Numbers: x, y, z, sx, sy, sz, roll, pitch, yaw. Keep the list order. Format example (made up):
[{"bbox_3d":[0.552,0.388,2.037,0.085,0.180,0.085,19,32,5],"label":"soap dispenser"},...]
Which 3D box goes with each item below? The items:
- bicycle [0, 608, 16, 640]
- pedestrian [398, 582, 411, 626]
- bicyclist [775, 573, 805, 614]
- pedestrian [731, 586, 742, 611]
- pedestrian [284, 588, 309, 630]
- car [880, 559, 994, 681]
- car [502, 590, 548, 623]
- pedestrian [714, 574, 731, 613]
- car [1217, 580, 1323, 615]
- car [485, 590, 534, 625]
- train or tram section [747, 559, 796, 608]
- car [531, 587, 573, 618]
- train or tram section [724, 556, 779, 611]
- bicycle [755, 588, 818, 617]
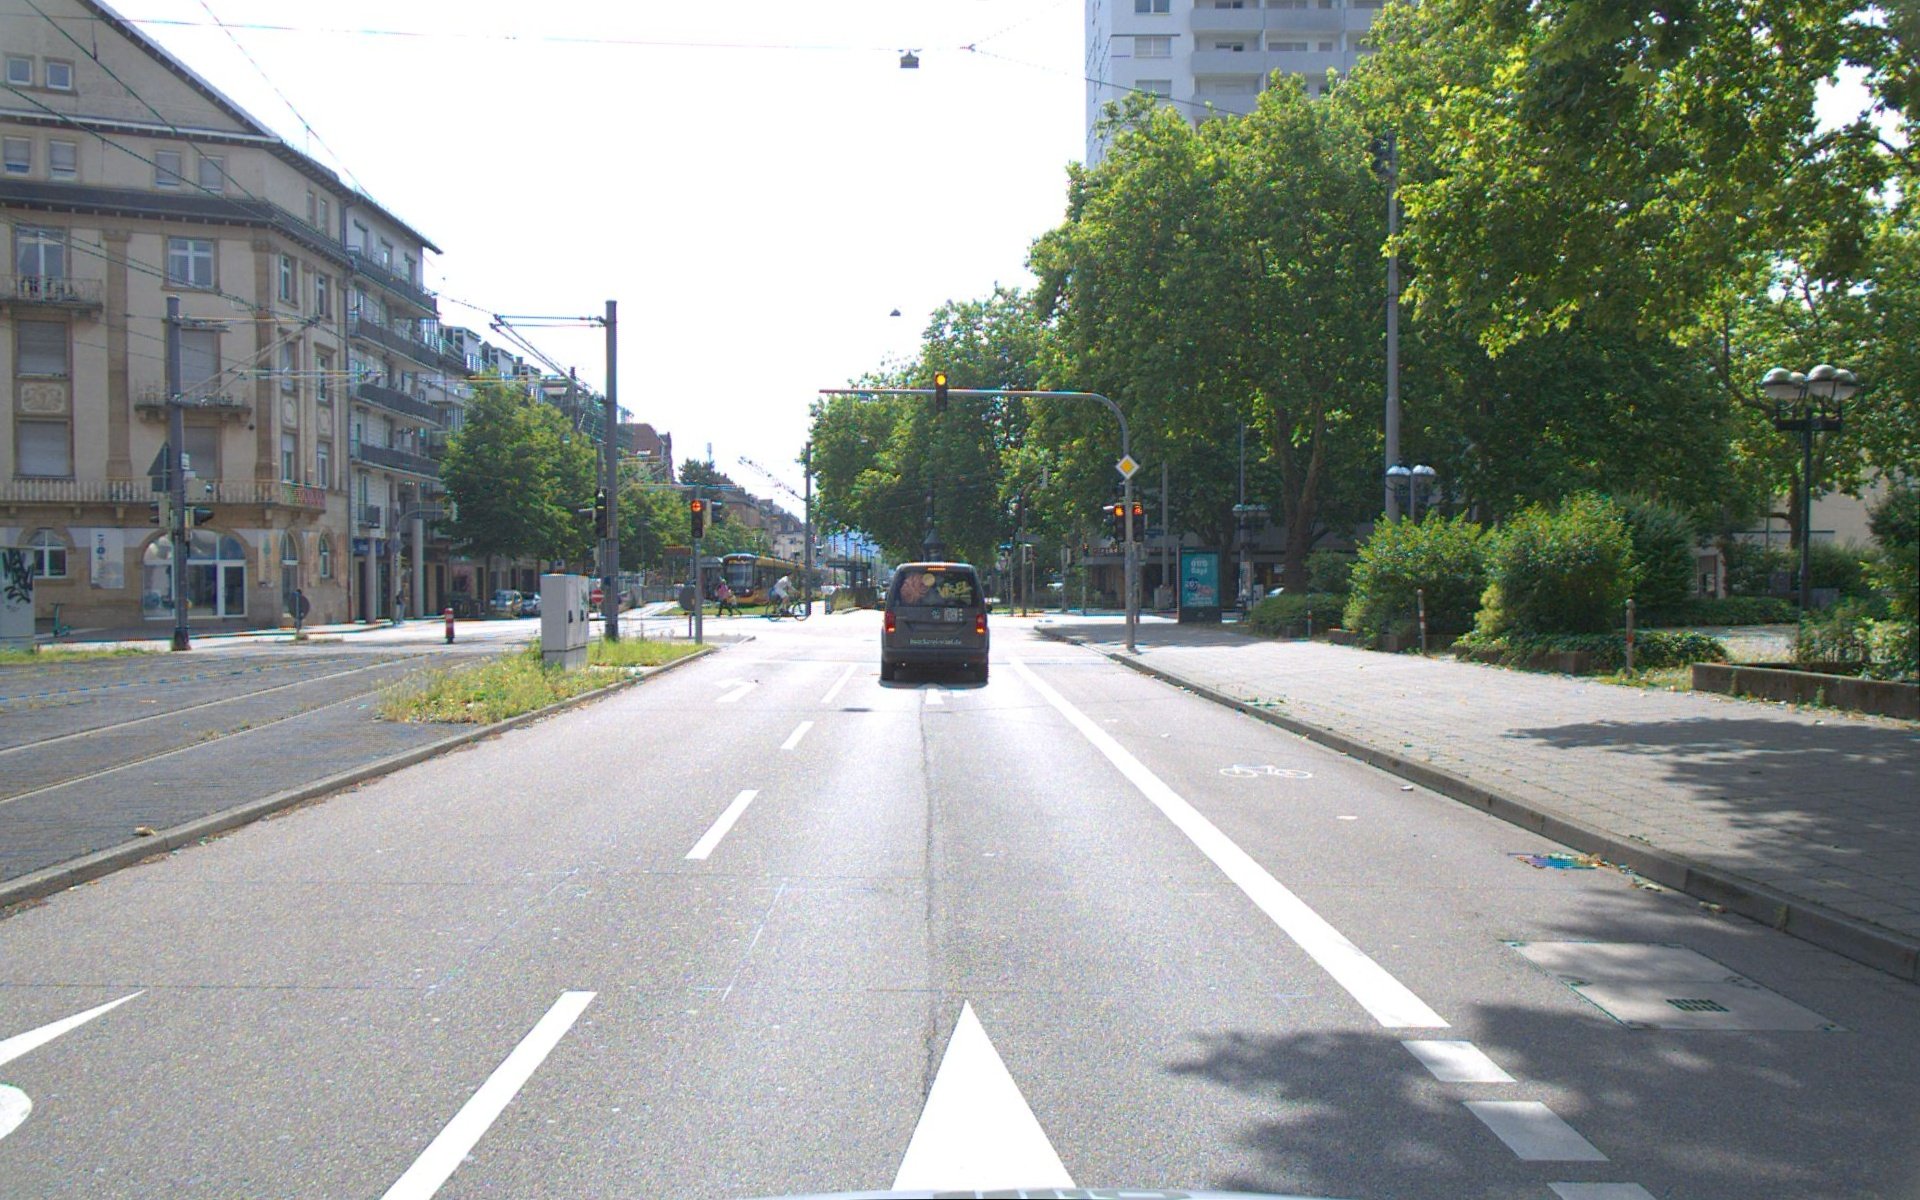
[{"bbox_3d":[-33.760,0.852,56.864,0.786,1.071,2.568,-1,1,11],"label":"bicycle"},{"bbox_3d":[-26.012,0.202,77.459,0.468,2.049,0.419,-1,0,-7],"label":"pedestrian"},{"bbox_3d":[-6.536,-0.256,63.552,0.976,1.538,0.781,-1,1,6],"label":"bicyclist"},{"bbox_3d":[-10.437,-0.085,77.164,0.454,1.164,0.435,-1,0,-1],"label":"pedestrian"},{"bbox_3d":[-26.013,0.361,64.842,0.678,1.623,0.861,-1,0,-5],"label":"pedestrian"},{"bbox_3d":[-0.381,0.287,27.071,1.715,1.840,3.474,1,1,-1],"label":"car"},{"bbox_3d":[-28.092,0.412,106.977,1.953,2.049,3.999,-1,1,-1],"label":"car"},{"bbox_3d":[-10.993,-0.307,76.582,0.646,1.815,0.660,-1,0,-1],"label":"pedestrian"},{"bbox_3d":[13.445,-0.108,71.710,4.424,1.414,1.693,-1,1,-25],"label":"car"},{"bbox_3d":[-27.779,0.453,102.071,1.953,2.049,3.999,-1,1,-1],"label":"car"},{"bbox_3d":[-13.982,-1.227,123.508,2.195,3.389,14.011,-1,1,-1],"label":"train or tram section"},{"bbox_3d":[-28.463,0.164,115.475,1.953,2.049,3.999,-1,1,-1],"label":"car"},{"bbox_3d":[-13.764,-1.090,110.084,2.195,3.389,12.969,-1,1,-1],"label":"train or tram section"},{"bbox_3d":[-6.653,0.102,63.622,2.252,1.066,0.897,-1,1,6],"label":"bicycle"}]
